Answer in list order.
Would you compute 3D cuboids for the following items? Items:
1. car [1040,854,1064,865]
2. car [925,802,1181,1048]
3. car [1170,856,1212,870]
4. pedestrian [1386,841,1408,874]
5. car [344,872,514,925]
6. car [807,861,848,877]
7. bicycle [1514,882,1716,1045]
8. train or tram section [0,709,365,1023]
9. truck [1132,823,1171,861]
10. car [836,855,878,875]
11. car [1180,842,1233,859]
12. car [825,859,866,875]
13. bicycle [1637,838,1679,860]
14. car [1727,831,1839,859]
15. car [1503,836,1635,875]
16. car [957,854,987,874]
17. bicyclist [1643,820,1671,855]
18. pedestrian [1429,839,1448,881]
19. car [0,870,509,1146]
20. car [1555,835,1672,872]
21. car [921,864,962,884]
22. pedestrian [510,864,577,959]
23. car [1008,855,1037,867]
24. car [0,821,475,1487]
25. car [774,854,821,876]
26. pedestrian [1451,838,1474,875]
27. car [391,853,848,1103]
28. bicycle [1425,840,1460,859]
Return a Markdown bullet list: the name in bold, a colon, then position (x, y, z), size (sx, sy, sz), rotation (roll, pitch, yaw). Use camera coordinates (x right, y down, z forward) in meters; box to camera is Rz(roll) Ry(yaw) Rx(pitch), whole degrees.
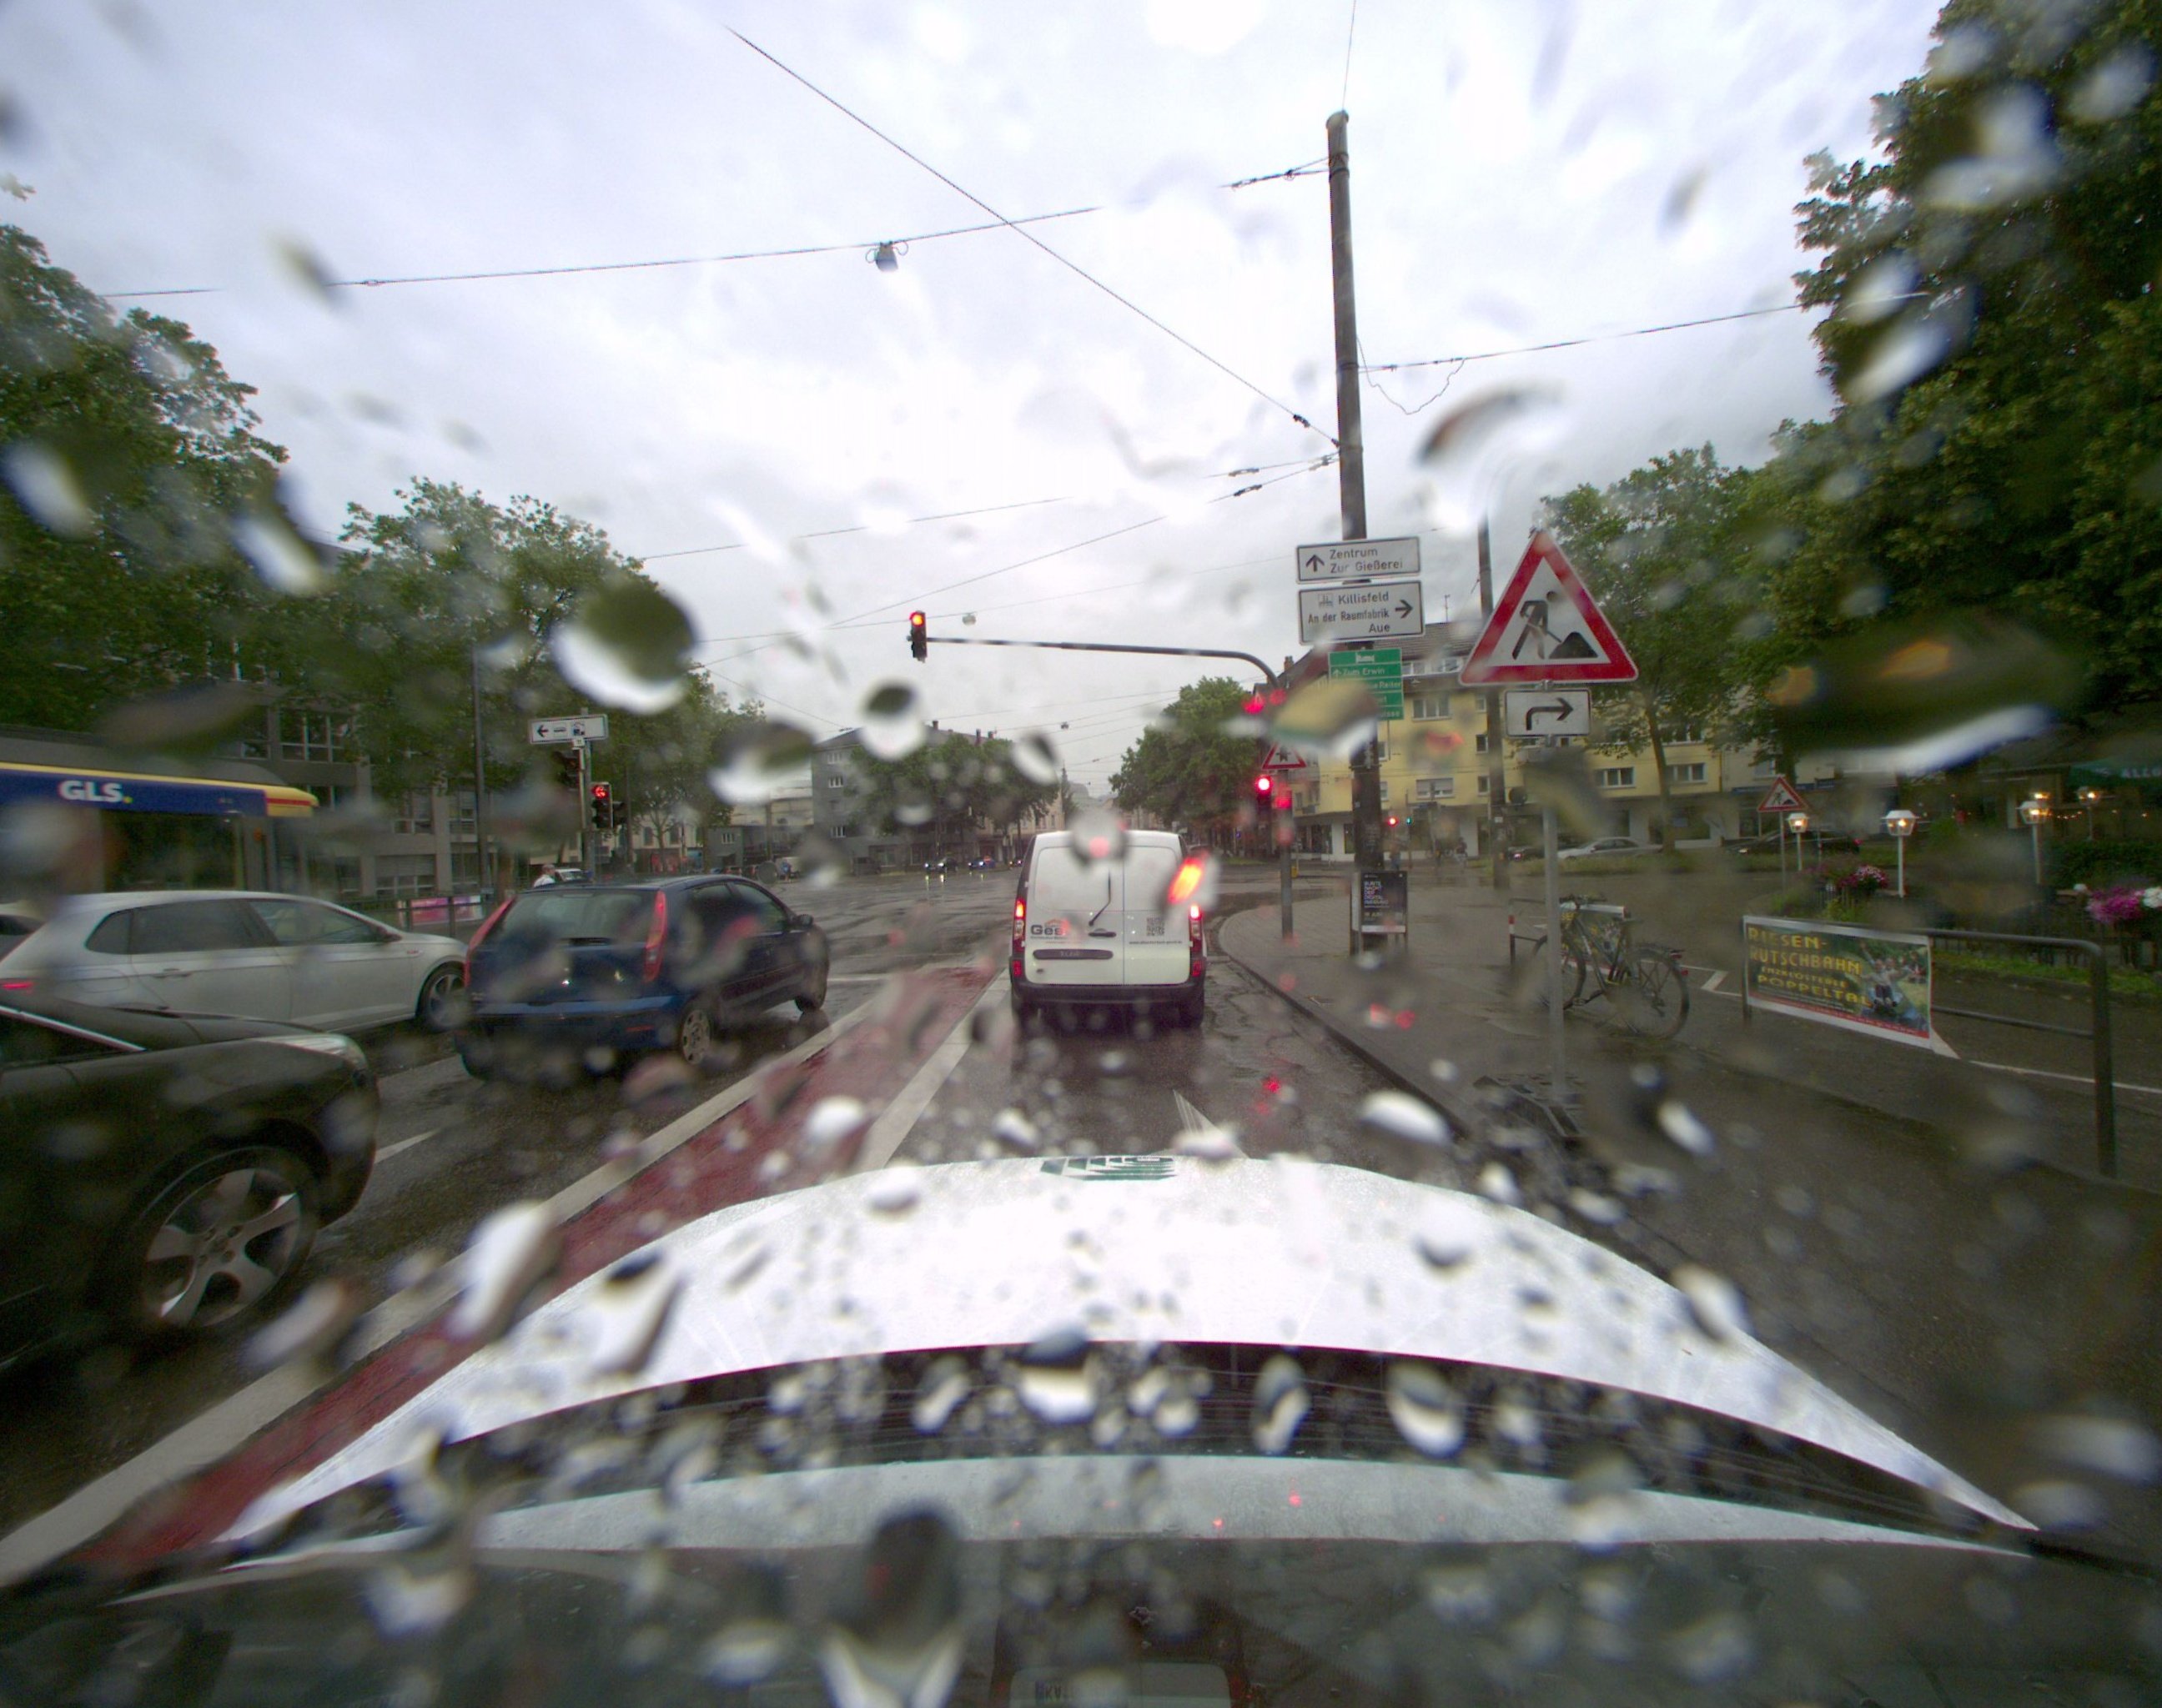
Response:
- **car**: position (-3.807, 0.700, 107.394), size (1.935, 1.239, 4.020), rotation (-1, 1, 19)
- **car**: position (-0.157, 0.616, 9.311), size (2.092, 2.012, 4.965), rotation (-2, -1, 2)
- **car**: position (9.553, 0.759, 70.839), size (3.437, 1.130, 1.468), rotation (-1, 0, -6)
- **pedestrian**: position (14.918, 0.142, 38.458), size (0.820, 1.534, 0.616), rotation (-1, -1, -37)
- **car**: position (-18.636, 1.241, 23.482), size (1.582, 1.314, 3.538), rotation (-1, 0, 16)
- **car**: position (-27.503, 1.606, 88.516), size (1.935, 1.496, 4.025), rotation (-1, 1, 29)
- **bicycle**: position (4.483, 0.845, 7.034), size (0.512, 1.107, 2.018), rotation (1, 0, 3)
- **train or tram section**: position (-13.611, 0.130, 5.486), size (3.527, 3.413, 15.509), rotation (0, 0, 2)
- **truck**: position (10.433, -1.630, 118.720), size (3.446, 5.087, 15.359), rotation (-1, 0, 13)
- **car**: position (-23.423, 1.185, 85.443), size (1.975, 2.013, 4.025), rotation (-1, 0, 29)
- **car**: position (10.576, -0.315, 68.877), size (4.160, 1.339, 1.518), rotation (-2, 1, -6)
- **car**: position (-25.284, 1.425, 87.528), size (1.975, 1.530, 4.025), rotation (-1, 1, 29)
- **bicycle**: position (26.831, -0.241, 37.893), size (1.631, 1.002, 0.422), rotation (-1, 0, 2)
- **car**: position (29.277, -0.362, 34.019), size (3.511, 1.082, 1.248), rotation (-1, 0, 4)
- **car**: position (22.854, 0.108, 38.358), size (4.902, 1.643, 2.007), rotation (-1, -3, 14)
- **car**: position (-11.303, 0.982, 84.688), size (1.981, 2.013, 4.011), rotation (-1, 0, 10)
- **bicyclist**: position (26.801, -0.753, 37.892), size (0.810, 1.615, 0.711), rotation (-1, 0, 2)
- **pedestrian**: position (17.339, 0.298, 39.487), size (0.787, 2.014, 0.865), rotation (-1, -1, 27)
- **car**: position (-6.768, 0.920, 6.510), size (1.623, 1.494, 3.783), rotation (-1, 0, 2)
- **car**: position (22.944, -0.036, 35.246), size (3.906, 1.490, 1.815), rotation (-1, 1, 17)
- **car**: position (-12.707, 1.826, 74.369), size (1.935, 1.607, 4.020), rotation (-1, 1, 19)
- **pedestrian**: position (-9.439, 0.996, 14.325), size (0.621, 1.607, 0.744), rotation (-1, 0, 9)
- **car**: position (-6.895, 0.787, 95.961), size (1.935, 1.239, 4.020), rotation (-1, 1, 19)
- **car**: position (-3.651, 0.765, 1.506), size (1.827, 1.668, 4.174), rotation (-1, 0, 2)
- **car**: position (-30.754, 1.156, 88.403), size (1.975, 2.198, 4.816), rotation (0, 2, 25)
- **pedestrian**: position (17.400, 0.118, 37.121), size (0.896, 1.669, 1.026), rotation (-1, 0, 28)
- **car**: position (-3.517, 0.805, 7.146), size (1.720, 1.578, 3.822), rotation (-1, 0, 2)
- **bicycle**: position (24.328, -0.298, 54.844), size (2.085, 1.261, 0.534), rotation (-1, 1, 16)
